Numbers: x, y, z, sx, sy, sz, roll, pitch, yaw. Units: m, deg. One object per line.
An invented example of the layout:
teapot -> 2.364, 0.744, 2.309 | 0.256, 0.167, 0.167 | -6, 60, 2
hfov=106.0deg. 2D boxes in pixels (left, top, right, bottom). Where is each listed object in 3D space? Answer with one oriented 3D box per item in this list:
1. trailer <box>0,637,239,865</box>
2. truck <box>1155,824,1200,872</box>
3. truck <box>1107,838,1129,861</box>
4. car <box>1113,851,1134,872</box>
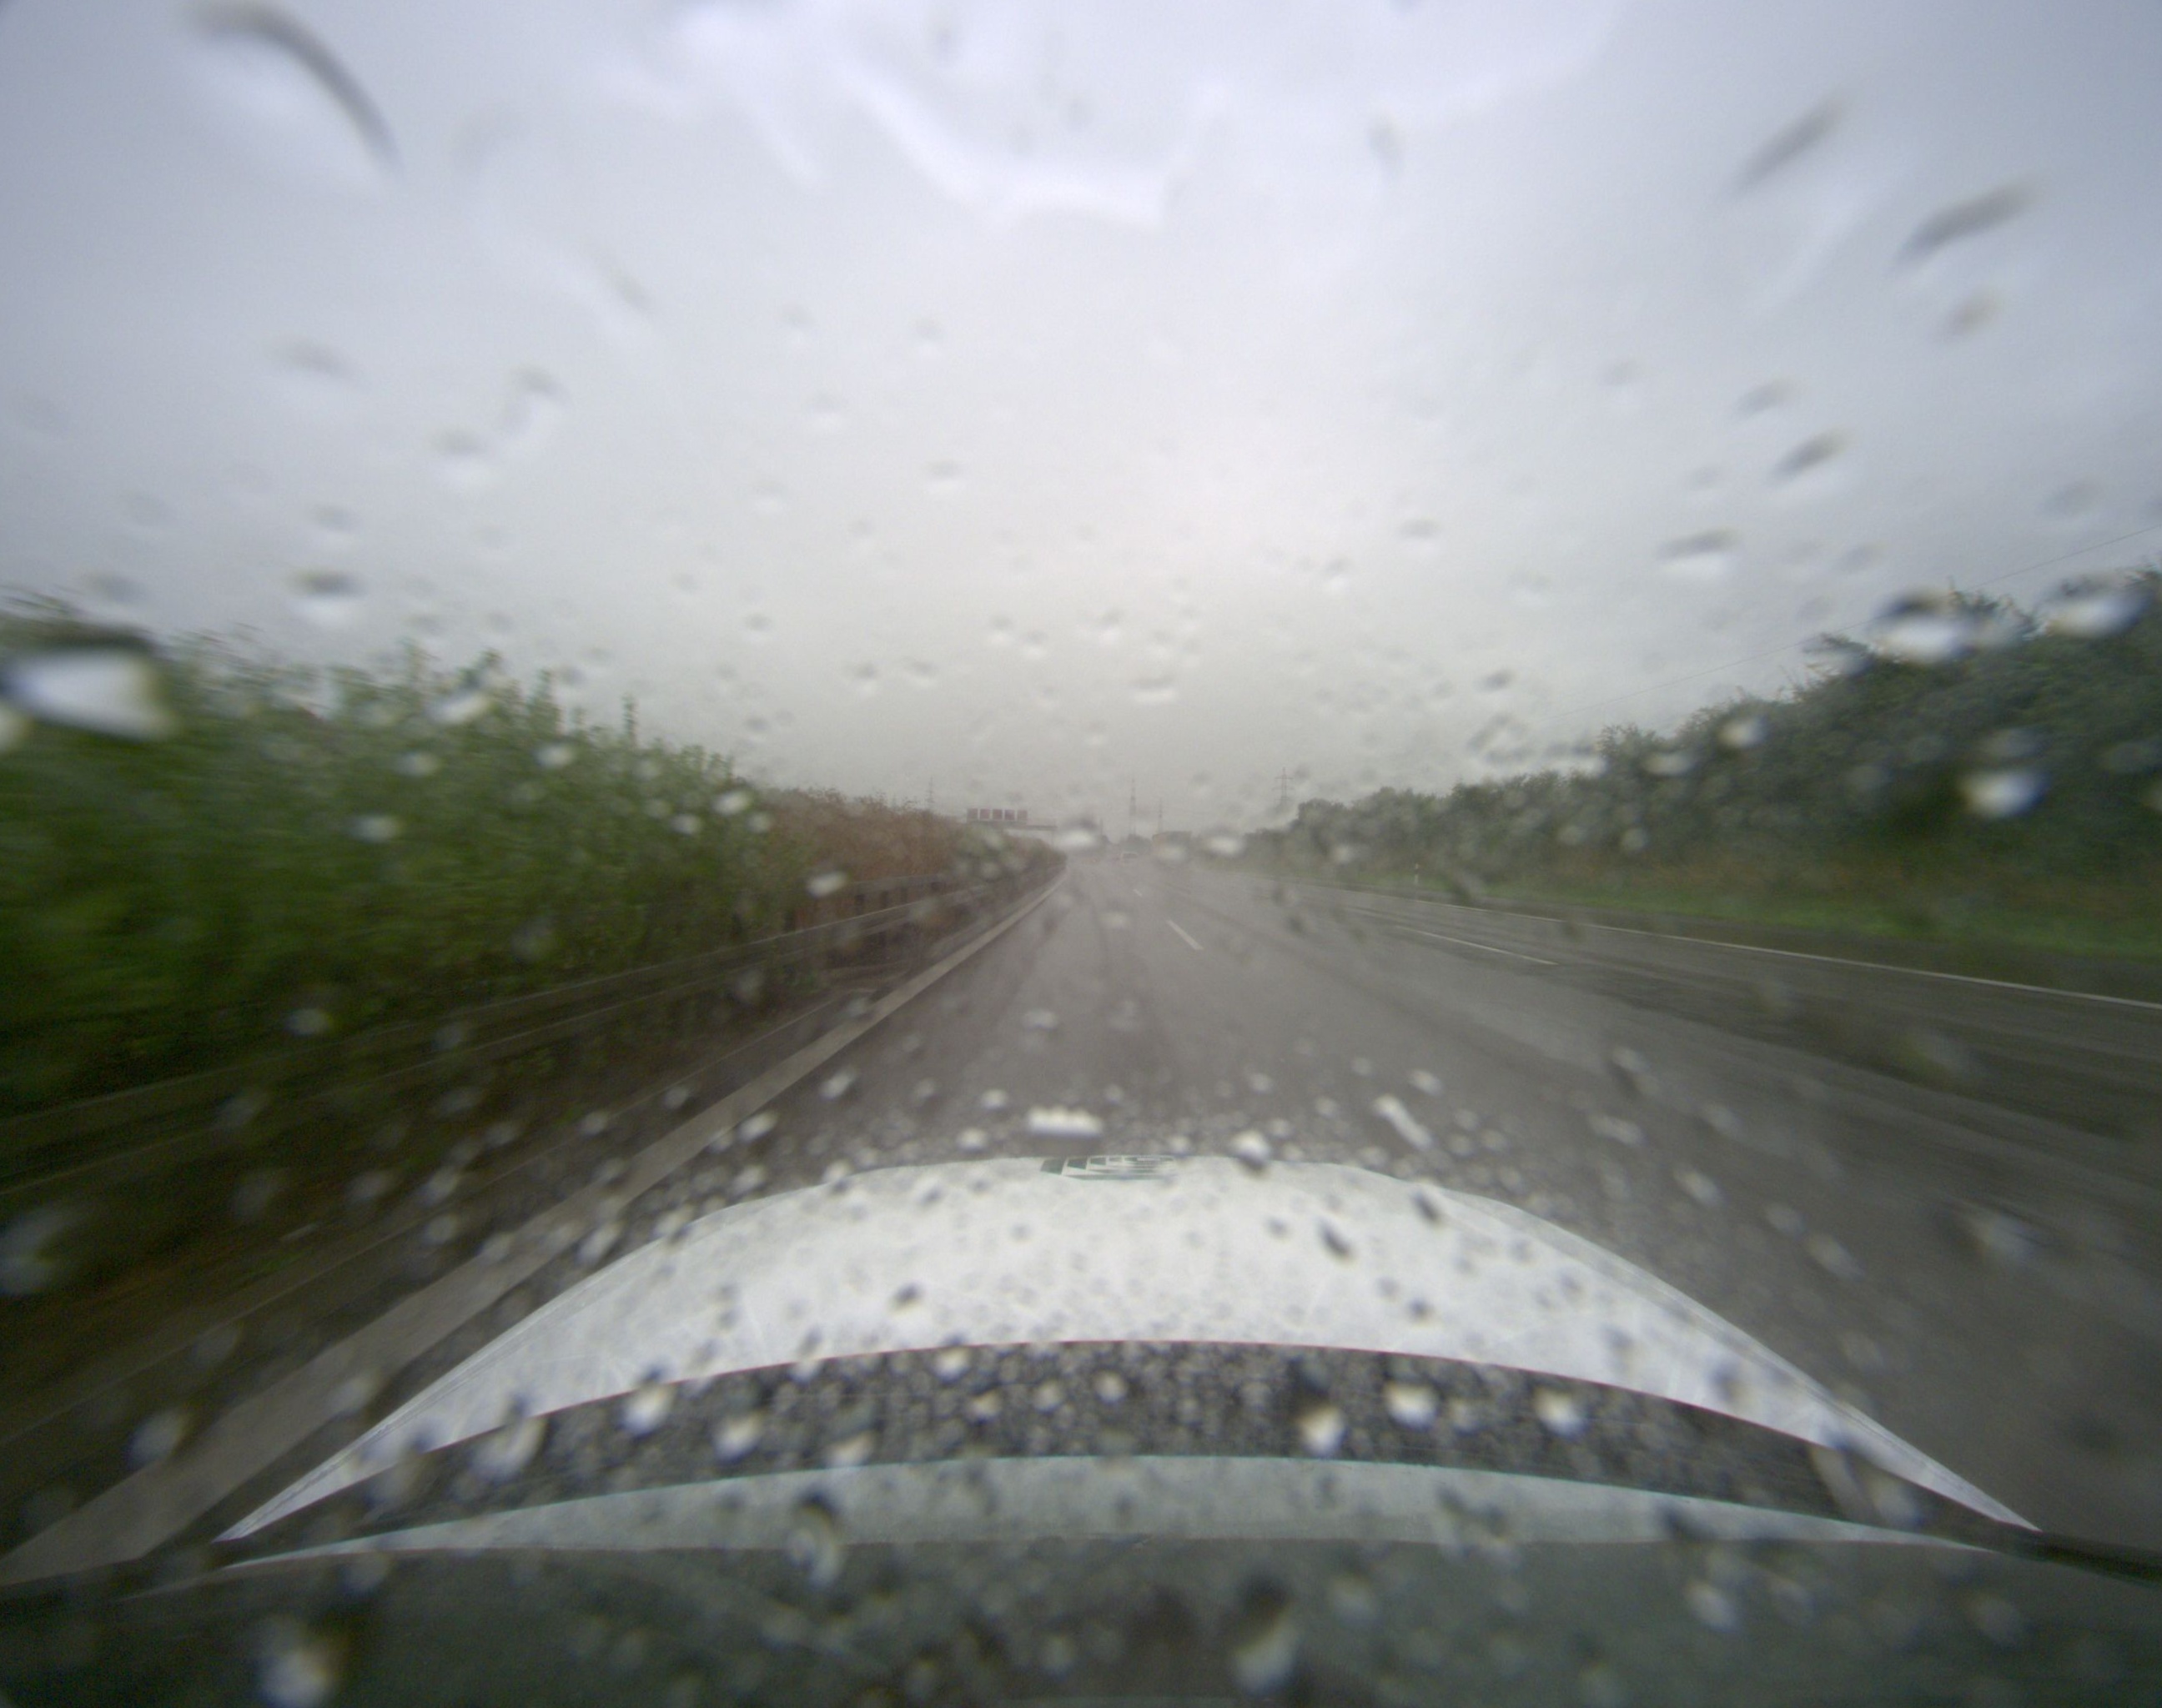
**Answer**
trailer -> -16.698, -1.461, 9.970 | 2.412, 3.265, 9.893 | -1, 0, 0
truck -> 10.155, -0.495, 87.504 | 4.169, 4.630, 16.126 | -1, 0, 5
truck -> 7.023, -0.914, 156.730 | 3.226, 4.311, 8.825 | -1, 0, -3
car -> 4.277, 0.731, 82.323 | 1.986, 2.013, 4.002 | -1, 0, 2
